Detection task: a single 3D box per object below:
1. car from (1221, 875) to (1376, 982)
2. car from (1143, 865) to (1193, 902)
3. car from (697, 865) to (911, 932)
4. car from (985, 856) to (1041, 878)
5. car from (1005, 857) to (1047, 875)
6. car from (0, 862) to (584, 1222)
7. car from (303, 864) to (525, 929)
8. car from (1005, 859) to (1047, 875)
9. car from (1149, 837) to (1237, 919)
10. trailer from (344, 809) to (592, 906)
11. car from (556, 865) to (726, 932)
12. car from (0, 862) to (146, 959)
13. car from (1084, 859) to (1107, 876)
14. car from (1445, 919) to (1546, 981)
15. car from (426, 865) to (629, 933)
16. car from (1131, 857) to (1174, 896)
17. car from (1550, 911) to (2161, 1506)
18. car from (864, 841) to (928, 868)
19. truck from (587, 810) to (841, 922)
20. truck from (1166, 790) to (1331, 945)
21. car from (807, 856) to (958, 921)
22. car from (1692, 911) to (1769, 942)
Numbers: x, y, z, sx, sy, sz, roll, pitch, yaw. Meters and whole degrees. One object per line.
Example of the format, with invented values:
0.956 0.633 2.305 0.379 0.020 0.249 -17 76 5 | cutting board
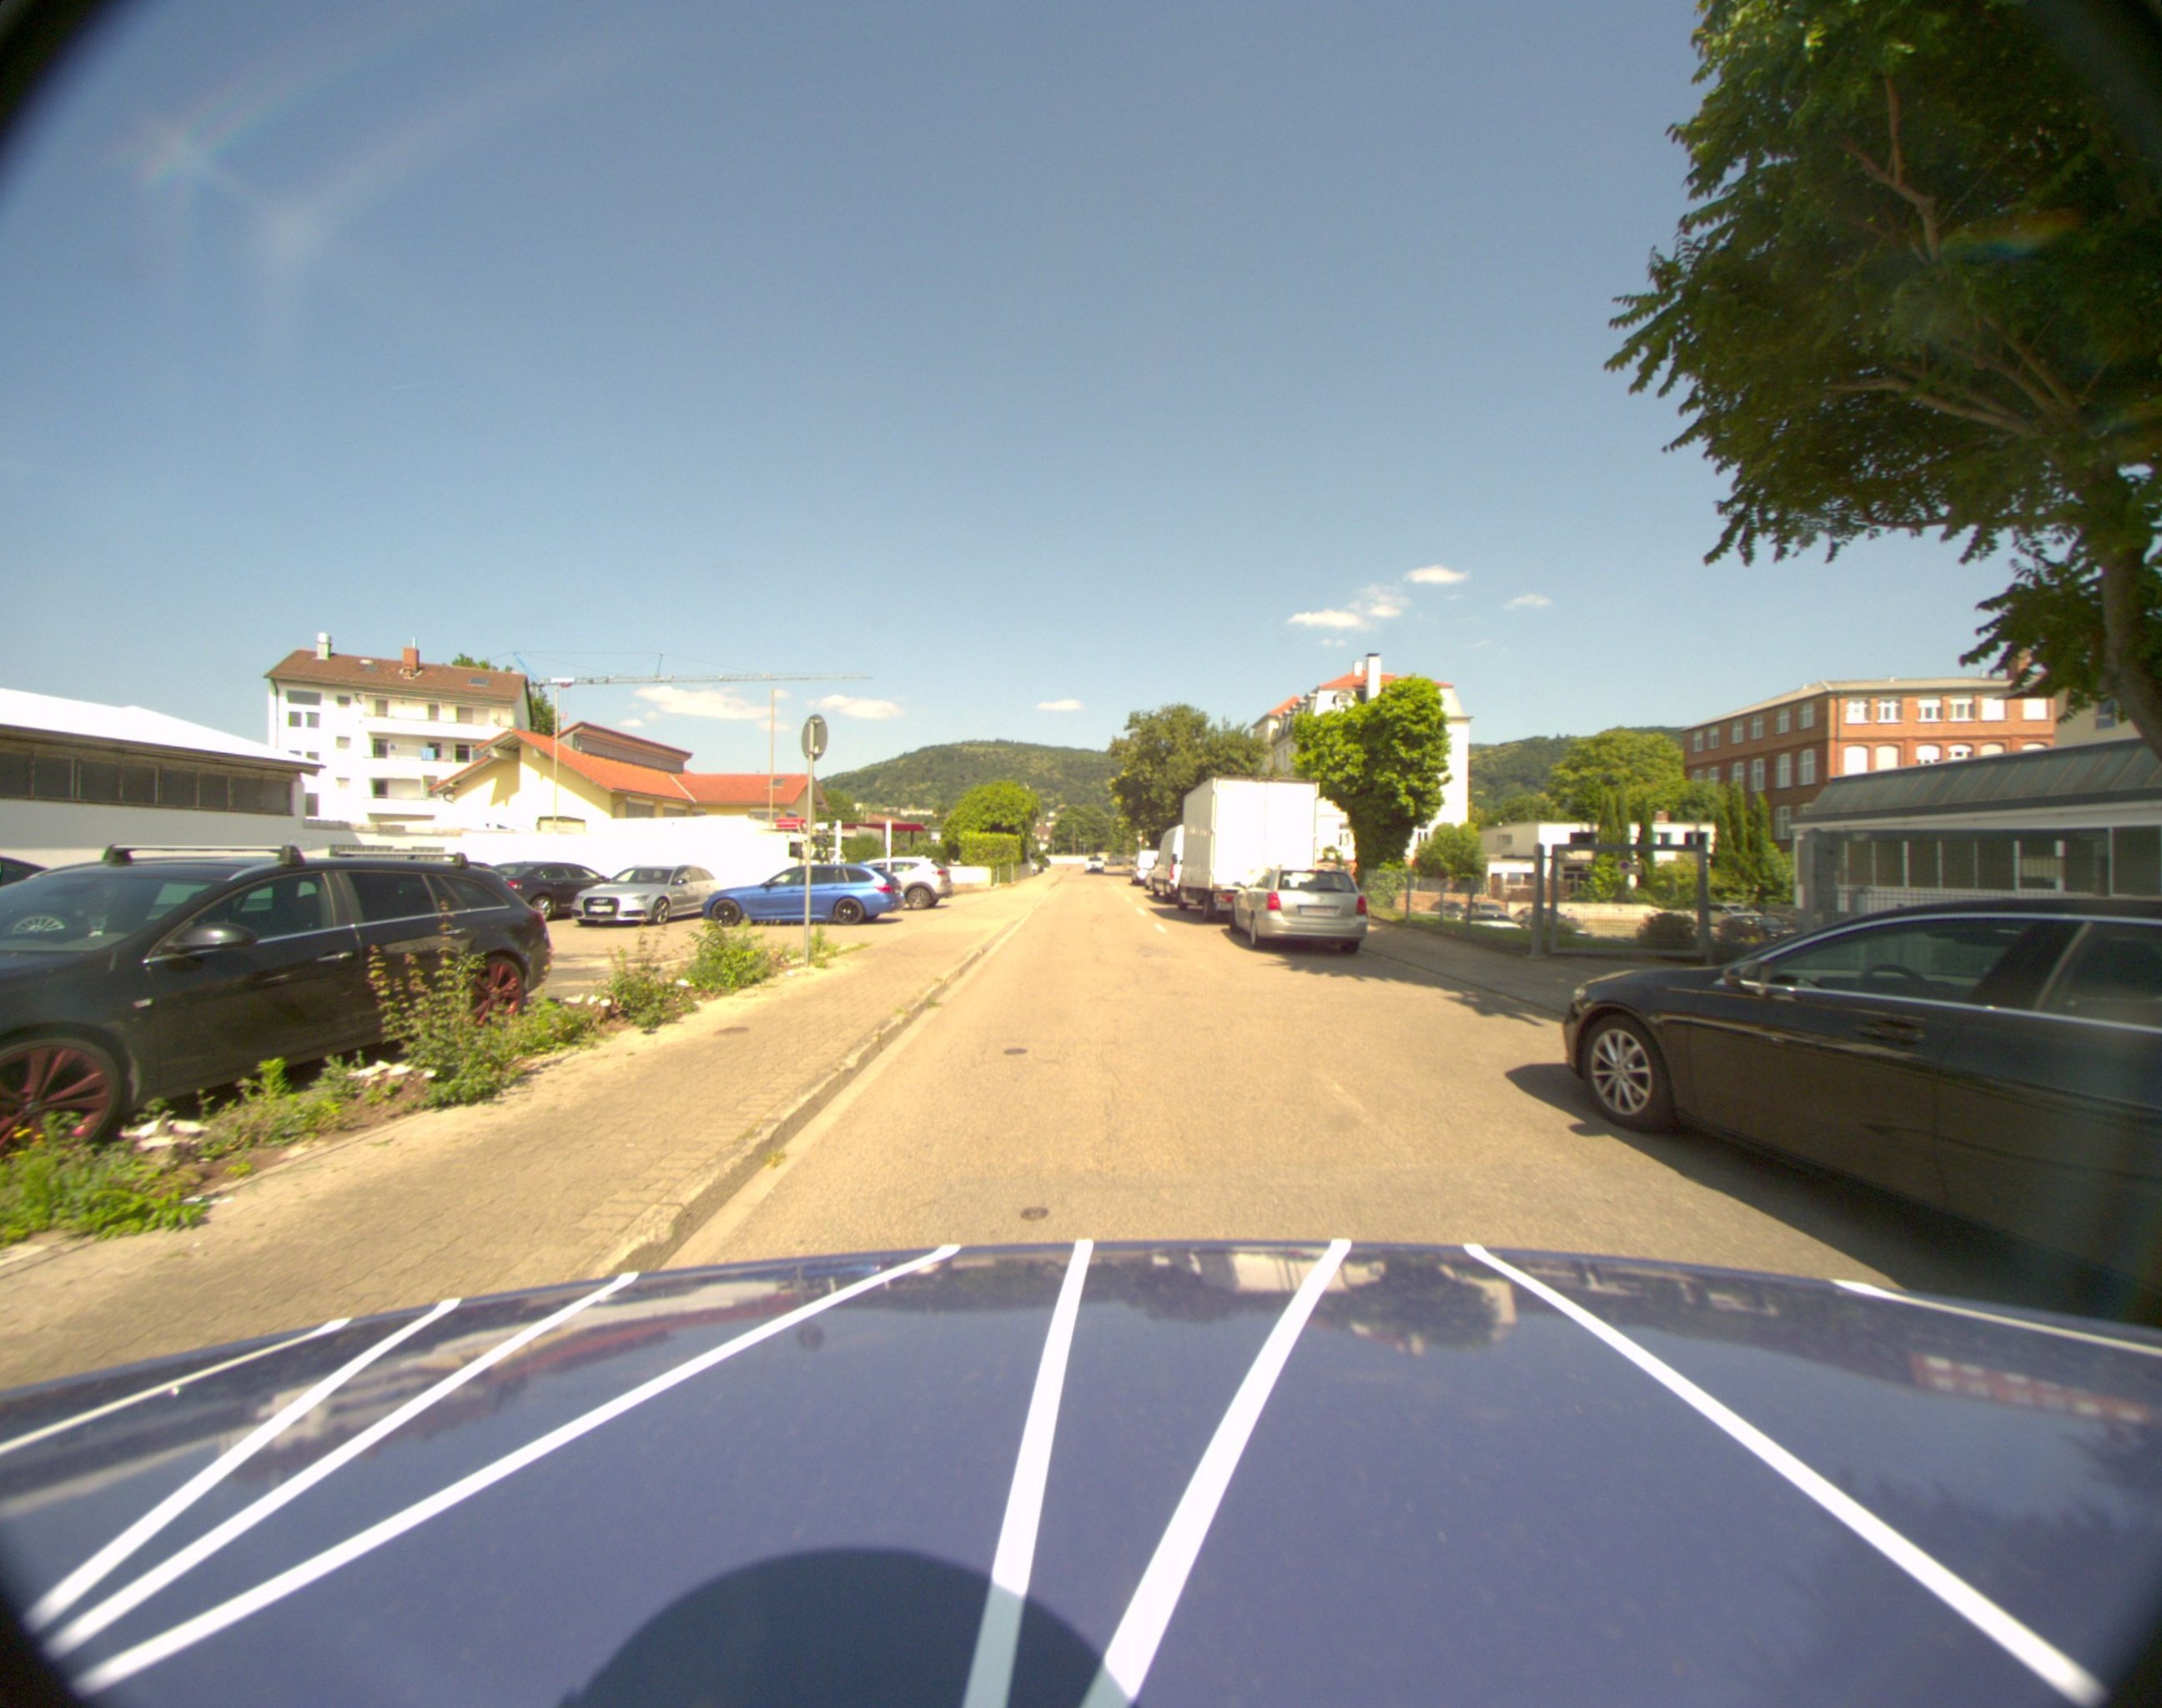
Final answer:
3.738 1.196 13.844 1.745 1.512 4.311 2 0 3 | car
4.114 1.385 36.619 1.719 1.535 4.399 2 0 -2 | car
-6.466 1.010 18.098 4.364 1.433 1.892 -1 -1 0 | car
-5.509 1.056 61.842 4.415 1.519 1.896 2 1 -2 | car
-5.024 1.116 69.895 3.812 1.614 1.759 1 0 -1 | car
-5.680 0.843 4.778 1.863 1.558 4.951 1 -1 0 | car
-16.595 0.979 19.237 1.890 1.384 4.028 2 0 4 | car
-4.842 1.155 66.966 3.558 1.327 1.558 1 0 -1 | car
3.938 0.761 28.023 2.174 2.581 6.919 2 0 0 | car
-25.626 0.118 31.998 8.351 3.840 3.069 0 0 6 | trailer
-10.910 1.037 19.289 1.891 1.433 4.454 1 0 -3 | car
-16.013 0.776 10.091 1.711 1.316 4.194 0 0 21 | car
1.399 1.263 73.455 1.896 1.412 4.169 2 1 -3 | car
17.000 3.892 31.419 1.866 1.919 4.354 -1 1 1 | car
-13.735 1.046 19.224 1.890 1.433 4.188 2 0 3 | car
4.025 1.211 43.680 1.976 2.002 5.056 2 0 0 | car
3.846 1.098 2.739 1.709 1.454 4.114 2 0 0 | car
-18.736 0.052 77.114 6.026 2.663 2.255 1 1 -22 | car
-12.706 0.415 26.743 7.537 3.403 2.527 -3 0 1 | truck
4.068 0.280 20.190 2.692 3.346 7.129 1 0 -1 | truck
-6.181 1.057 24.001 4.212 1.672 1.766 -4 1 0 | car
44.492 4.965 52.223 1.820 1.667 4.606 3 -1 9 | car
